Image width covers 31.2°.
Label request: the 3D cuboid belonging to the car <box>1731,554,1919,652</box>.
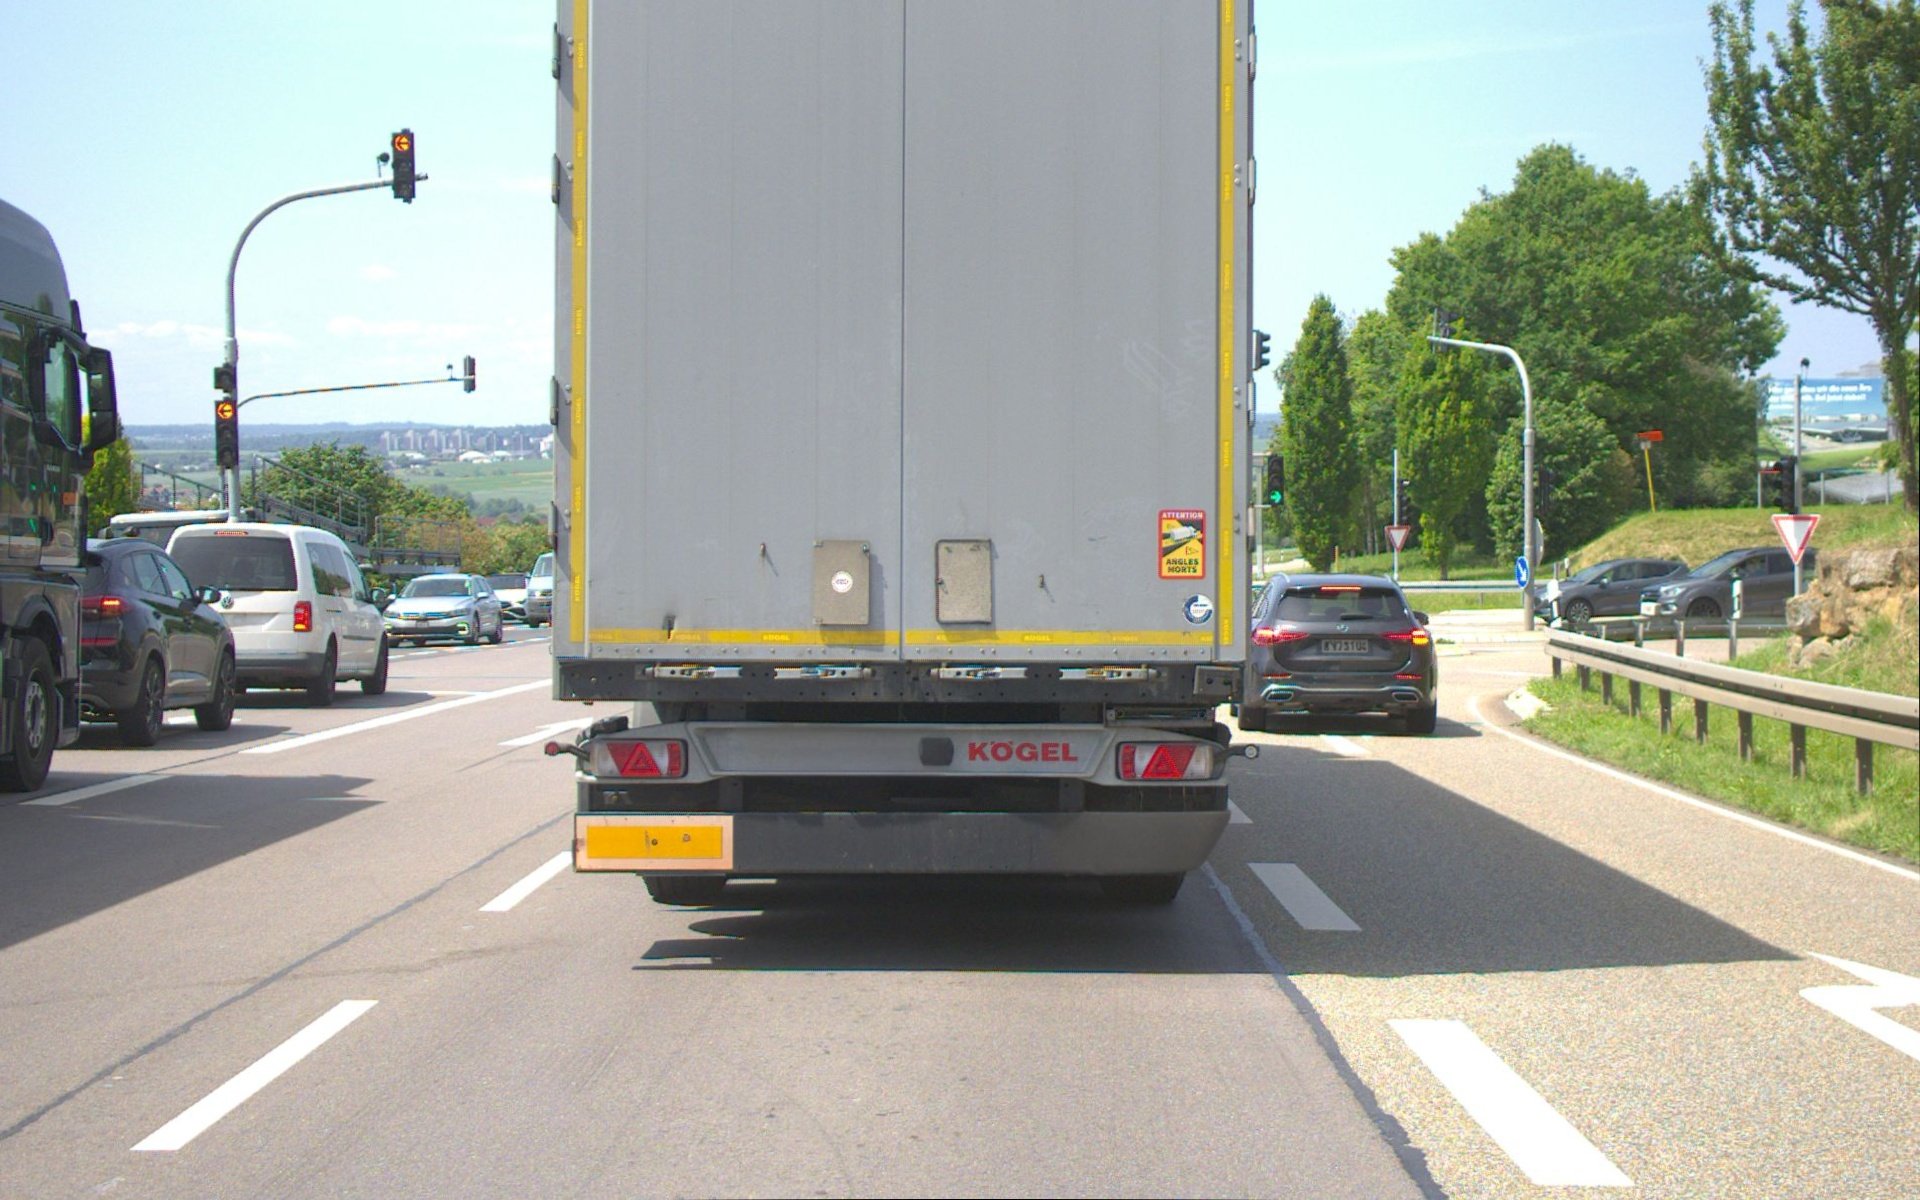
[{"bbox_3d":[15.220,0.056,59.806,1.801,1.634,3.990,1,0,42],"label":"car"}]

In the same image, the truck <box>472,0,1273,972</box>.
[{"bbox_3d":[-0.349,-0.693,17.915,2.799,3.916,11.342,1,0,0],"label":"truck"}]

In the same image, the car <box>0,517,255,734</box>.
[{"bbox_3d":[-7.184,0.162,28.529,1.856,1.652,4.349,1,1,-1],"label":"car"}]

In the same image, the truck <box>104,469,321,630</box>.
[{"bbox_3d":[-14.598,-0.957,67.570,2.799,3.003,5.989,0,0,2],"label":"truck"}]

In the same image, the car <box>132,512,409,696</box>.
[{"bbox_3d":[-7.191,0.007,36.340,1.768,1.792,4.752,1,1,2],"label":"car"}]

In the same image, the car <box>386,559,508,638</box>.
[{"bbox_3d":[-10.321,-0.030,69.361,1.737,1.523,4.000,1,0,2],"label":"car"}]

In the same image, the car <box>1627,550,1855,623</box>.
[{"bbox_3d":[16.458,-0.297,72.551,4.357,1.505,1.717,0,0,-10],"label":"car"}]

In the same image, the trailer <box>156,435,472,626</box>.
[{"bbox_3d":[-14.130,-1.390,77.600,2.639,3.750,19.797,0,0,2],"label":"trailer"}]

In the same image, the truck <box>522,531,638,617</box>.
[{"bbox_3d":[-9.915,-0.667,89.986,1.967,2.150,4.622,-1,0,7],"label":"truck"}]

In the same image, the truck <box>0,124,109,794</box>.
[{"bbox_3d":[-7.130,-0.845,20.102,2.783,3.999,5.971,1,1,0],"label":"truck"}]

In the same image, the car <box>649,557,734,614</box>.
[{"bbox_3d":[-7.080,-0.408,90.956,1.755,1.464,4.196,0,1,3],"label":"car"}]

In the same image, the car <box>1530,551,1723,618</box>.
[{"bbox_3d":[15.285,-0.368,78.934,3.986,1.505,1.716,0,0,-7],"label":"car"}]

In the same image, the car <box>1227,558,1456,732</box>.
[{"bbox_3d":[3.562,0.393,32.751,1.746,1.527,4.298,1,0,1],"label":"car"}]
